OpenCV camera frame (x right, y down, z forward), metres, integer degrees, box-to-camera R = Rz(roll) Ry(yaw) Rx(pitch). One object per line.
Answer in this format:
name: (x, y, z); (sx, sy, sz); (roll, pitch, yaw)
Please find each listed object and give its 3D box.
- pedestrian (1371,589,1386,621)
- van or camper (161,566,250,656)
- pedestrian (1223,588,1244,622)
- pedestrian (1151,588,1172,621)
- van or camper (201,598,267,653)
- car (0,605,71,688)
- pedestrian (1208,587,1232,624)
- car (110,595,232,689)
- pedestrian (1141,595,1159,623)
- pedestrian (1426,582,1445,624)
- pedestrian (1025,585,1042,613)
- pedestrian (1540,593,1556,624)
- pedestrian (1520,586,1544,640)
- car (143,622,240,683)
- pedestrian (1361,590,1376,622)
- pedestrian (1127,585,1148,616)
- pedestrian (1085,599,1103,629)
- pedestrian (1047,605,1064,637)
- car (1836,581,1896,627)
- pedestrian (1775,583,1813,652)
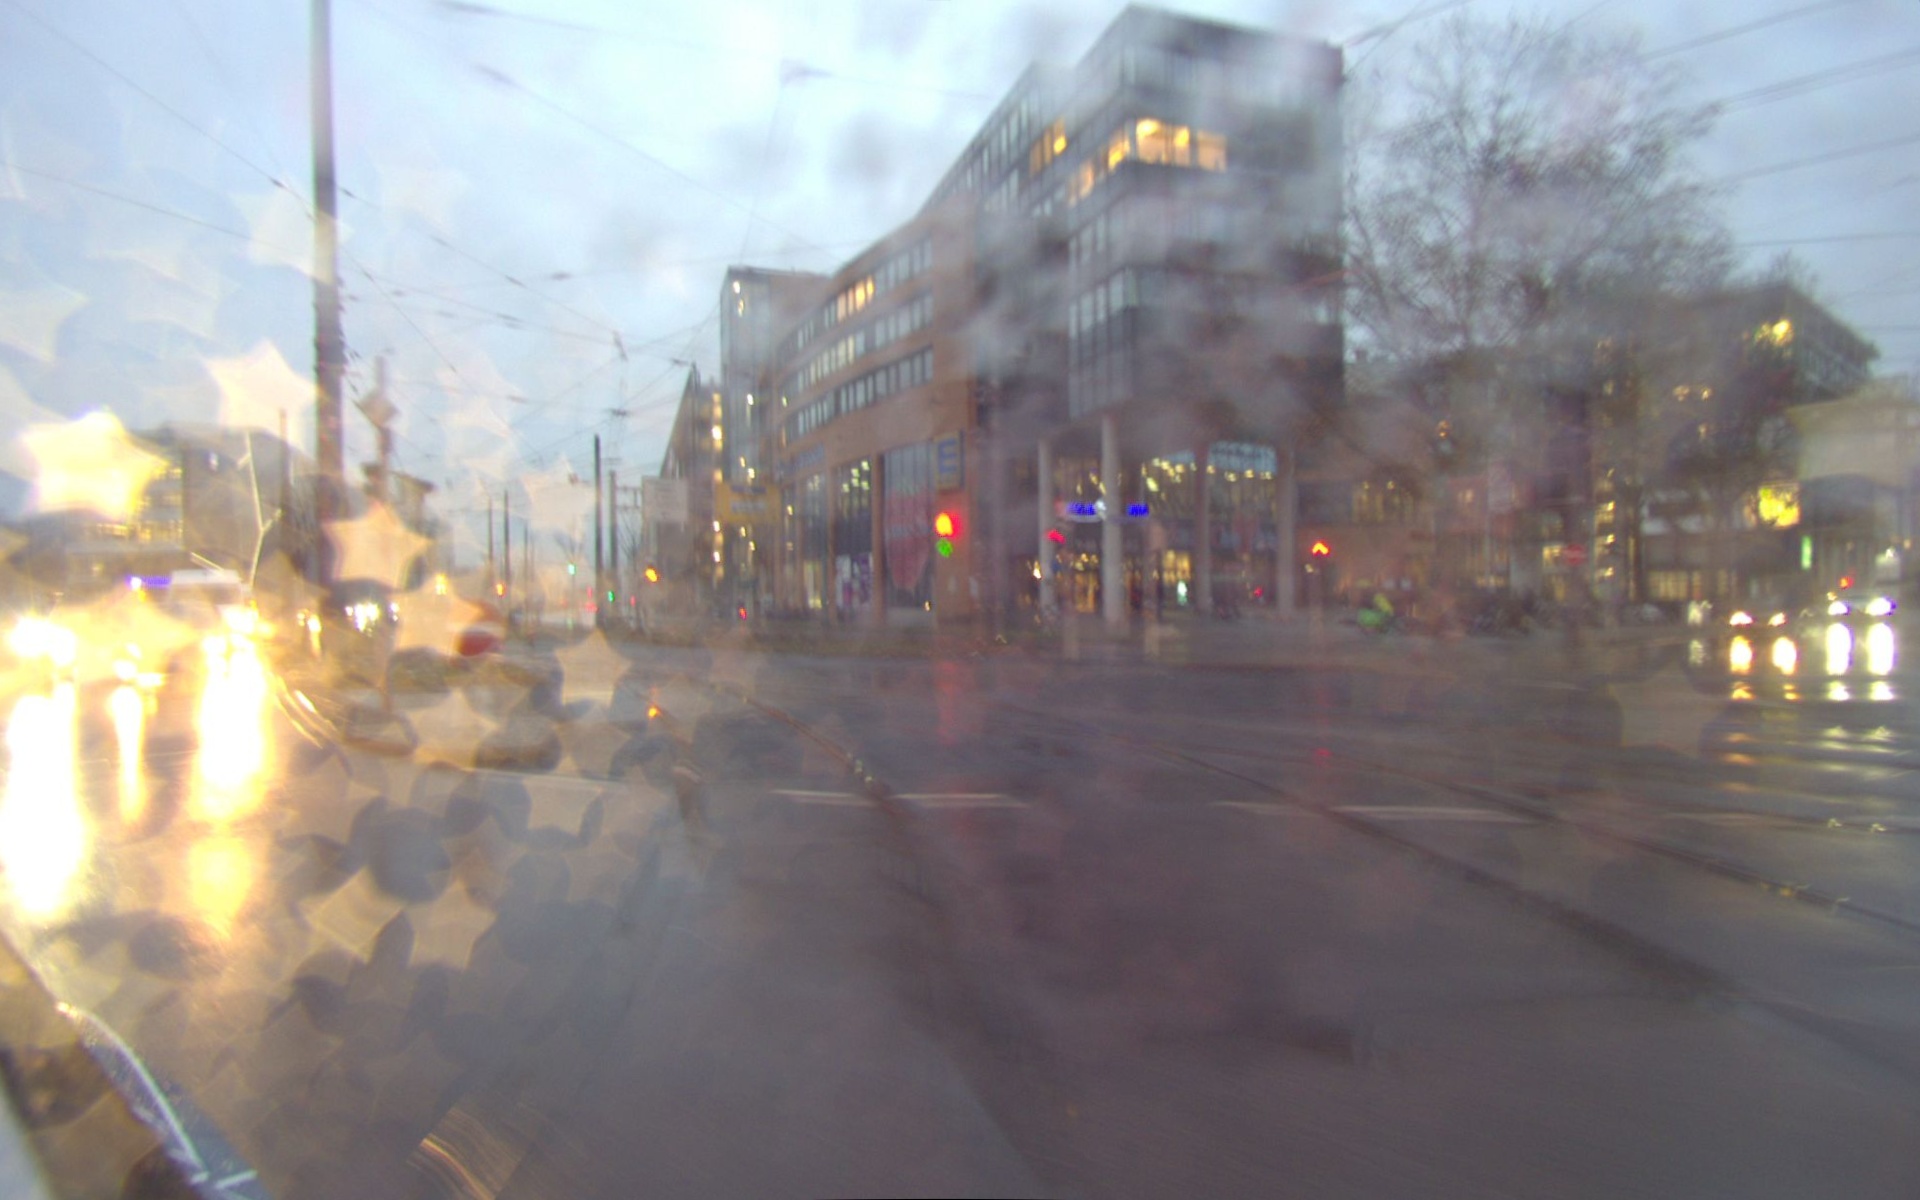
pedestrian: (22.827, 0.268, 55.150); (0.644, 1.764, 0.447); (-1, -1, -37)
van or camper: (-23.773, 0.322, 32.055); (2.029, 2.567, 5.900); (-2, 1, -35)
pedestrian: (14.005, 0.249, 51.817); (0.715, 1.721, 0.696); (0, -1, -28)
pedestrian: (10.381, 0.239, 52.168); (0.729, 1.669, 0.696); (0, -1, -28)
van or camper: (-34.704, 1.174, 48.508); (2.150, 2.370, 5.665); (-3, 1, -32)
car: (-18.595, 0.859, 19.604); (1.746, 1.469, 4.230); (-1, 0, -37)
pedestrian: (13.230, 0.290, 51.541); (0.762, 1.859, 0.925); (0, -1, -28)
car: (-14.825, 0.746, 19.182); (1.658, 1.585, 3.770); (-1, -1, -36)
pedestrian: (10.368, 0.479, 55.266); (0.641, 1.515, 0.696); (0, -1, -28)
pedestrian: (19.360, 0.114, 41.218); (0.593, 1.696, 0.558); (-1, -1, 20)
pedestrian: (4.053, -0.042, 55.683); (0.641, 1.515, 0.696); (0, -1, -28)
pedestrian: (32.060, 0.461, 55.203); (0.588, 1.696, 0.562); (0, -1, -41)
pedestrian: (21.848, 0.486, 38.678); (0.756, 2.029, 0.700); (-1, 0, 29)
car: (-19.536, 1.274, 25.870); (1.796, 1.342, 4.235); (-3, 1, -36)
pedestrian: (22.384, 0.314, 55.428); (0.644, 1.764, 0.447); (-1, -1, -37)
pedestrian: (10.040, 0.020, 57.266); (0.683, 1.721, 0.928); (0, -1, -40)
pedestrian: (6.859, 0.701, 51.793); (0.641, 1.515, 0.696); (0, -1, -28)
pedestrian: (3.913, 0.866, 41.387); (0.439, 1.274, 0.497); (-3, 1, -41)
car: (43.474, 0.194, 48.550); (1.921, 2.153, 4.017); (-1, -1, 45)
pedestrian: (25.130, 0.520, 30.504); (0.756, 2.029, 0.700); (-1, 0, 29)
